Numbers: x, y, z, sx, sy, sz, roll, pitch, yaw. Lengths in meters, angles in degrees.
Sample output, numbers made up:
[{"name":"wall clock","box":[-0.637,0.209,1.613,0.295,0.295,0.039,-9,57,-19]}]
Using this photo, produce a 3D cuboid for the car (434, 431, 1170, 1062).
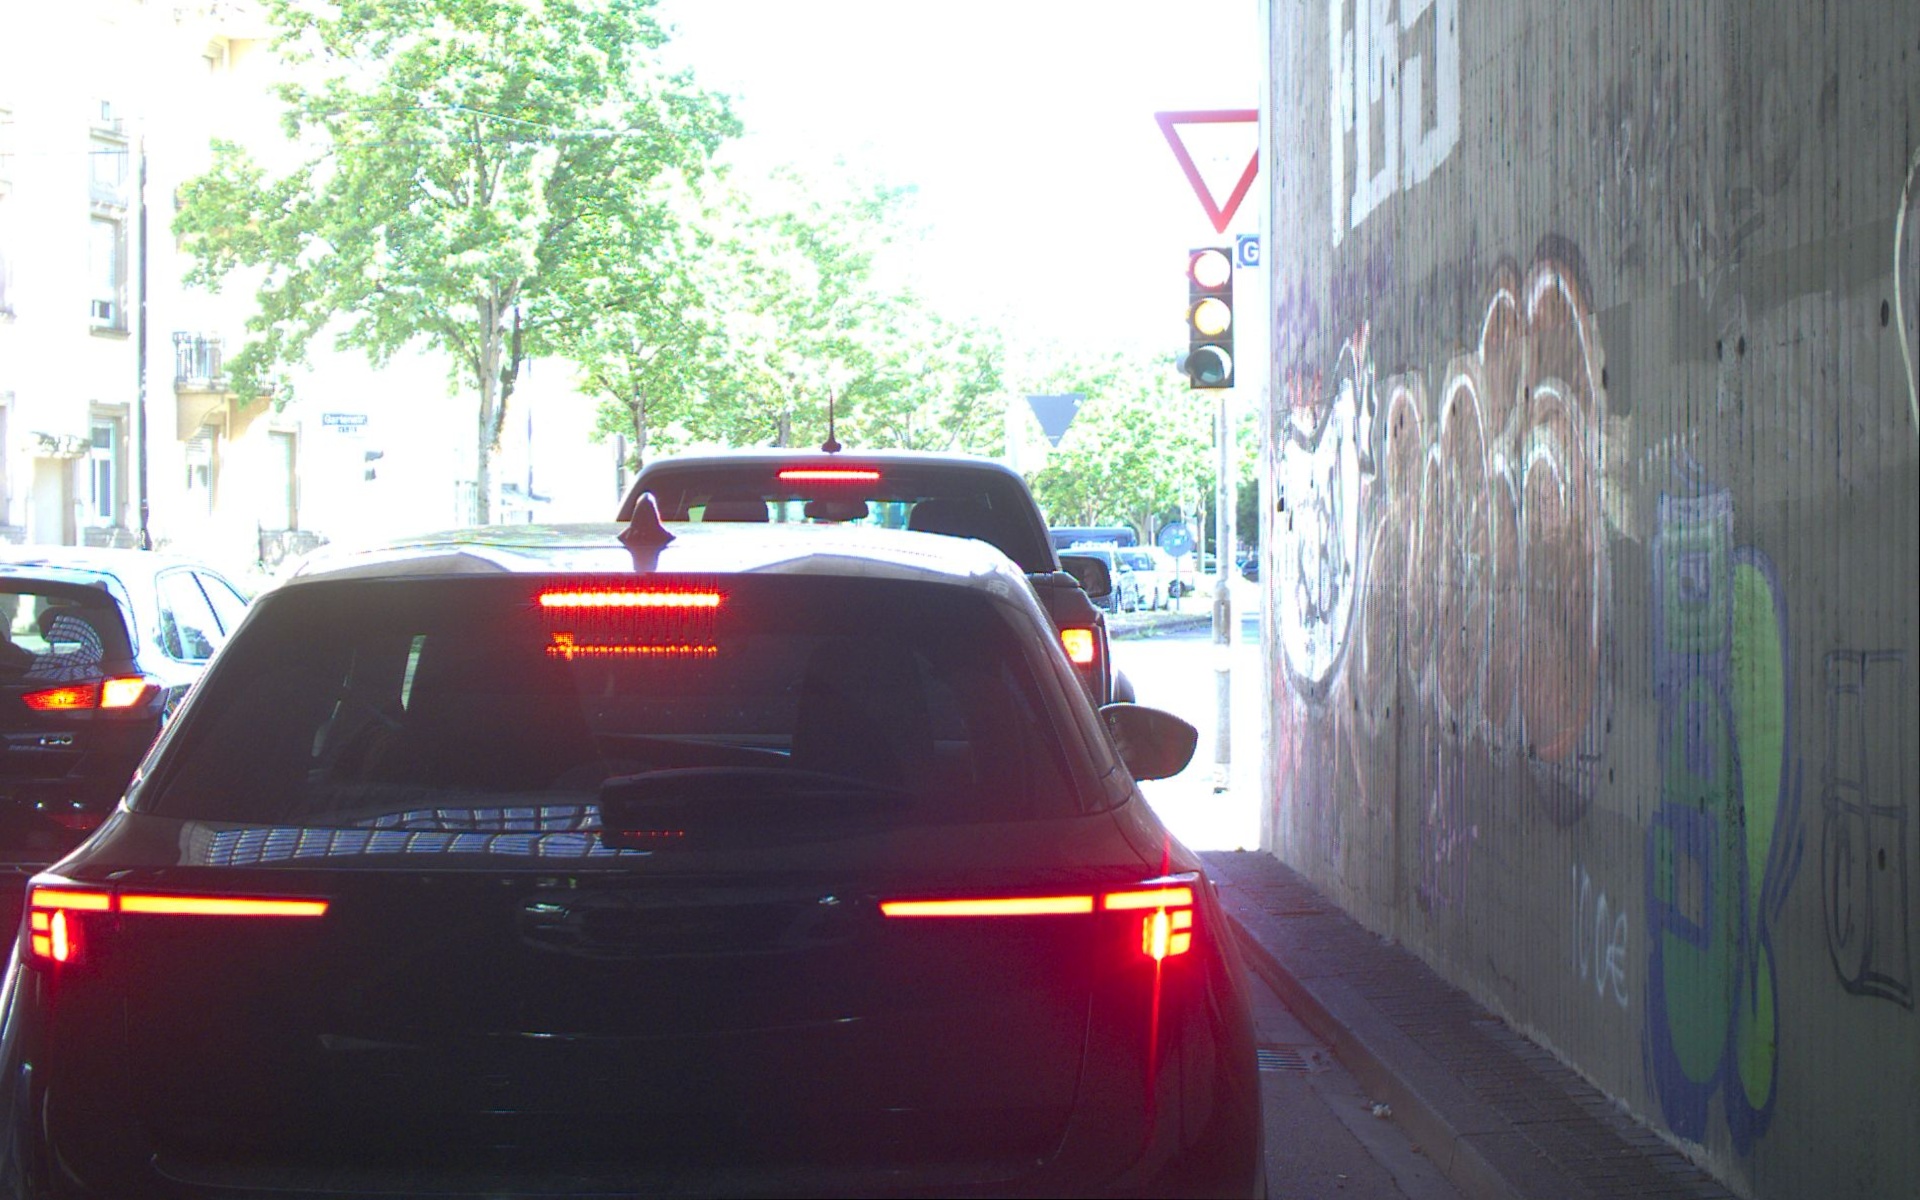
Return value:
[{"name":"car","box":[-0.502,0.381,12.477,2.133,1.829,4.941,0,1,-1]}]

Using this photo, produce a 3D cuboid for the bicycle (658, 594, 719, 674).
[{"name":"bicycle","box":[-4.100,0.502,52.026,0.698,1.086,1.860,0,3,3]}]

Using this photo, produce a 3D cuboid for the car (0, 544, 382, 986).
[{"name":"car","box":[-3.538,0.517,13.534,1.801,1.446,4.326,0,1,0]}]

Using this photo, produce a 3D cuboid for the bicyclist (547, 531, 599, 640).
[{"name":"bicyclist","box":[-5.815,-0.222,51.688,0.606,1.627,0.910,0,1,4]}]

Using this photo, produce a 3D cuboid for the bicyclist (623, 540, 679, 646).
[{"name":"bicyclist","box":[-4.898,-0.115,54.553,0.782,1.654,1.031,0,1,1]}]

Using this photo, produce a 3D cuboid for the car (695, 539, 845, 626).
[{"name":"car","box":[-3.252,-0.326,59.466,1.658,1.436,3.461,0,1,14]}]

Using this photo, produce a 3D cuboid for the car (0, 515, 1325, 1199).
[{"name":"car","box":[-0.481,0.627,6.008,1.781,1.512,3.756,1,1,-1]}]

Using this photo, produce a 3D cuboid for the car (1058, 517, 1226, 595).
[{"name":"car","box":[6.120,-1.474,115.740,5.259,2.537,1.986,-1,0,-15]}]

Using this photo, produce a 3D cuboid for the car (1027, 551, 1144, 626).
[{"name":"car","box":[2.520,-0.252,68.472,1.708,1.447,3.849,0,1,12]}]

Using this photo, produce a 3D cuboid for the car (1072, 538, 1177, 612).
[{"name":"car","box":[3.628,-0.565,75.299,1.705,1.507,3.861,-2,1,11]}]

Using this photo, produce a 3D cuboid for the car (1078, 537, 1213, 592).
[{"name":"car","box":[7.233,-1.392,134.262,4.883,2.076,1.986,-1,0,-25]}]

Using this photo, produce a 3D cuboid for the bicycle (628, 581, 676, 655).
[{"name":"bicycle","box":[-4.890,0.272,54.609,0.541,1.119,2.058,0,1,1]}]

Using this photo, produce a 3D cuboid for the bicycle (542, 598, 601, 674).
[{"name":"bicycle","box":[-5.816,0.525,51.575,0.525,1.086,1.860,0,1,5]}]

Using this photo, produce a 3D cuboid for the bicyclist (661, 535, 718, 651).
[{"name":"bicyclist","box":[-4.093,-0.110,52.116,0.745,1.705,0.967,0,3,2]}]

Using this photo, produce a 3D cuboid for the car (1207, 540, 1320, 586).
[{"name":"car","box":[14.208,-1.726,161.205,4.882,2.076,1.986,-1,0,-14]}]
